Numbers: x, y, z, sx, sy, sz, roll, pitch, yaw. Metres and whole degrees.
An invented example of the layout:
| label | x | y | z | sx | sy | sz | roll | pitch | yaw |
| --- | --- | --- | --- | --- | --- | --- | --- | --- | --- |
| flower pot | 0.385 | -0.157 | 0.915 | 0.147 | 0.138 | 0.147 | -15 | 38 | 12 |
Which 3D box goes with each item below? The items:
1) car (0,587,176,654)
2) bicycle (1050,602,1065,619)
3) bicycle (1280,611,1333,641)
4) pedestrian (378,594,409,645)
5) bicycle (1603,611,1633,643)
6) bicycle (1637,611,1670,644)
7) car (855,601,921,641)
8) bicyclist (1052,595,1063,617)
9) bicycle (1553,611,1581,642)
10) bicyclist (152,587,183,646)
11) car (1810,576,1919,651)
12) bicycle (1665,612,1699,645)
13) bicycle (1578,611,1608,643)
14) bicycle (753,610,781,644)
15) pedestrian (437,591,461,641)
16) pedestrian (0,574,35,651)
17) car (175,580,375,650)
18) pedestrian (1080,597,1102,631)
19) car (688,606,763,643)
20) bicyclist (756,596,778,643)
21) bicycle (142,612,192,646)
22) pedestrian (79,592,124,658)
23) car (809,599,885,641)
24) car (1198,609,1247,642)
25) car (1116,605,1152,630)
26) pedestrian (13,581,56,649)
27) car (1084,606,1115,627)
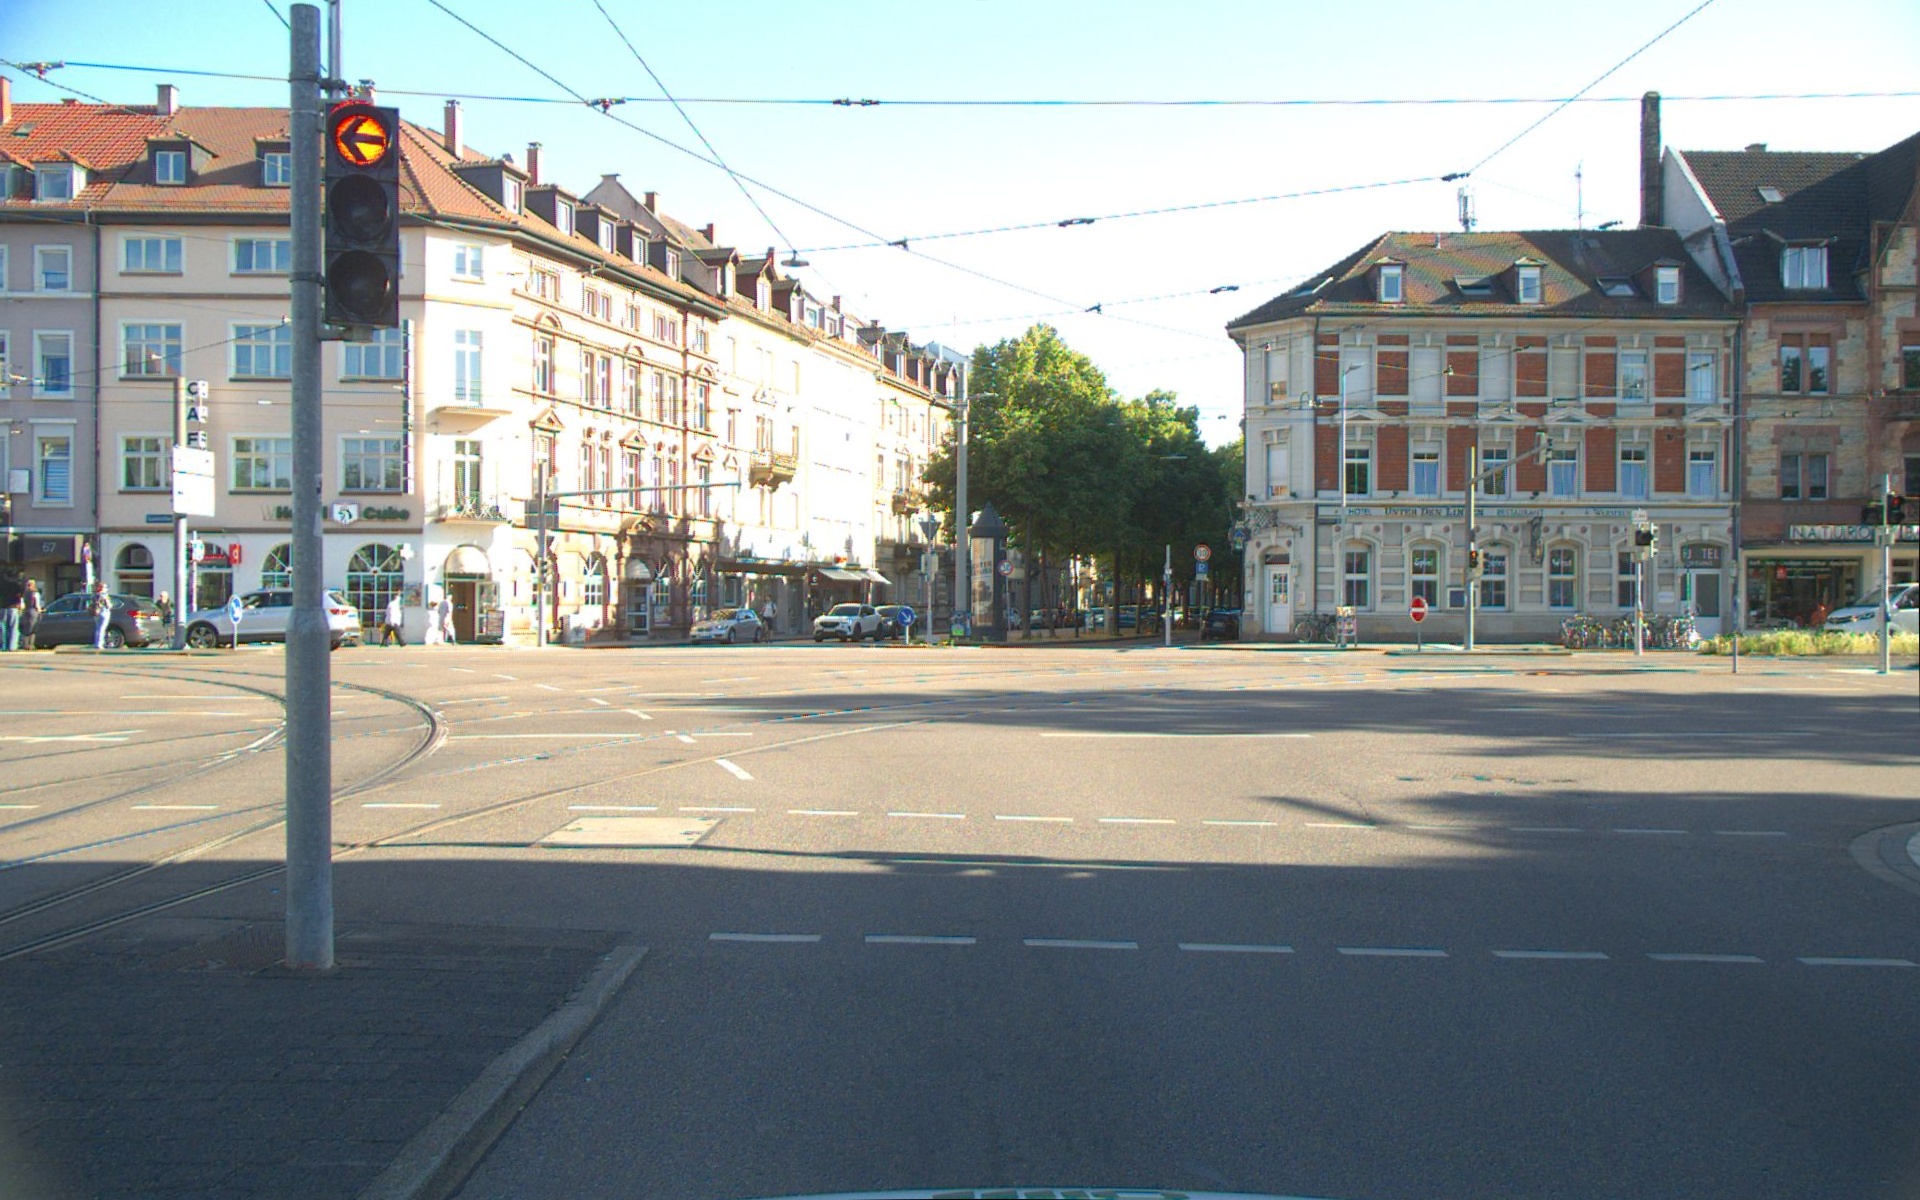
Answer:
| label | x | y | z | sx | sy | sz | roll | pitch | yaw |
| --- | --- | --- | --- | --- | --- | --- | --- | --- | --- |
| car | -24.865 | 0.573 | 47.122 | 4.142 | 1.805 | 1.818 | 1 | 0 | -2 |
| bicycle | 7.191 | 0.798 | 122.081 | 0.659 | 1.228 | 1.822 | 1 | 0 | 17 |
| bicycle | 11.985 | 0.902 | 57.274 | 1.764 | 0.979 | 0.604 | 1 | 0 | 14 |
| pedestrian | -18.572 | 0.639 | 54.215 | 0.556 | 1.671 | 0.792 | 1 | -1 | 22 |
| bicycle | 21.346 | 0.881 | 53.691 | 0.749 | 1.001 | 2.211 | 1 | 0 | 17 |
| bicycle | 22.462 | 0.888 | 53.606 | 0.749 | 1.025 | 2.221 | 1 | 0 | 17 |
| car | -3.182 | 0.929 | 73.538 | 1.786 | 1.715 | 3.877 | 1 | 0 | 16 |
| bicyclist | 7.196 | 0.435 | 122.084 | 0.659 | 1.595 | 0.748 | 1 | -1 | 17 |
| bicycle | 19.813 | 0.855 | 54.020 | 0.749 | 0.979 | 2.211 | 1 | 0 | 17 |
| bicyclist | -24.855 | 0.507 | 51.877 | 0.608 | 1.822 | 0.615 | 1 | -1 | 4 |
| car | 25.033 | 0.341 | 42.757 | 5.093 | 1.886 | 2.000 | 0 | 0 | -1 |
| bicycle | 23.325 | 0.901 | 53.470 | 0.775 | 1.033 | 2.211 | 1 | 0 | 17 |
| bicycle | 20.568 | 0.868 | 53.783 | 0.749 | 0.985 | 2.211 | 1 | 0 | 17 |
| bicycle | -7.560 | 1.051 | 64.898 | 0.553 | 1.276 | 1.558 | 1 | 0 | 14 |
| pedestrian | -17.565 | 0.544 | 56.841 | 0.575 | 1.705 | 0.498 | 1 | -1 | 16 |
| pedestrian | -22.891 | 0.299 | 40.106 | 0.516 | 1.854 | 0.676 | 1 | -1 | -1 |
| car | -18.357 | 0.394 | 44.484 | 4.585 | 1.764 | 1.834 | 1 | 0 | -7 |
| pedestrian | 8.013 | 0.866 | 101.082 | 0.952 | 2.049 | 0.908 | 1 | -1 | -32 |
| car | -9.447 | 0.984 | 66.905 | 1.624 | 1.398 | 3.894 | 1 | 0 | 14 |
| bicyclist | -7.563 | 0.768 | 64.908 | 0.553 | 1.835 | 0.915 | 1 | -1 | 14 |
| bicycle | -24.859 | 0.897 | 51.850 | 0.608 | 1.048 | 1.755 | 1 | 0 | 4 |
| pedestrian | -21.293 | 0.619 | 41.031 | 0.655 | 1.622 | 0.815 | 1 | -1 | -1 |
| car | -4.539 | 0.804 | 67.162 | 1.764 | 1.613 | 4.162 | 1 | 0 | 16 |
| car | 13.156 | 1.271 | 82.659 | 1.719 | 1.583 | 4.001 | 1 | 0 | 20 |
| car | 12.315 | 1.221 | 116.693 | 1.951 | 1.713 | 4.003 | 1 | 0 | 15 |
| pedestrian | -22.939 | 0.371 | 41.018 | 0.571 | 1.677 | 0.840 | 1 | -1 | -1 |
| car | 10.906 | 1.266 | 129.172 | 1.764 | 1.603 | 3.893 | 1 | 0 | 15 |
